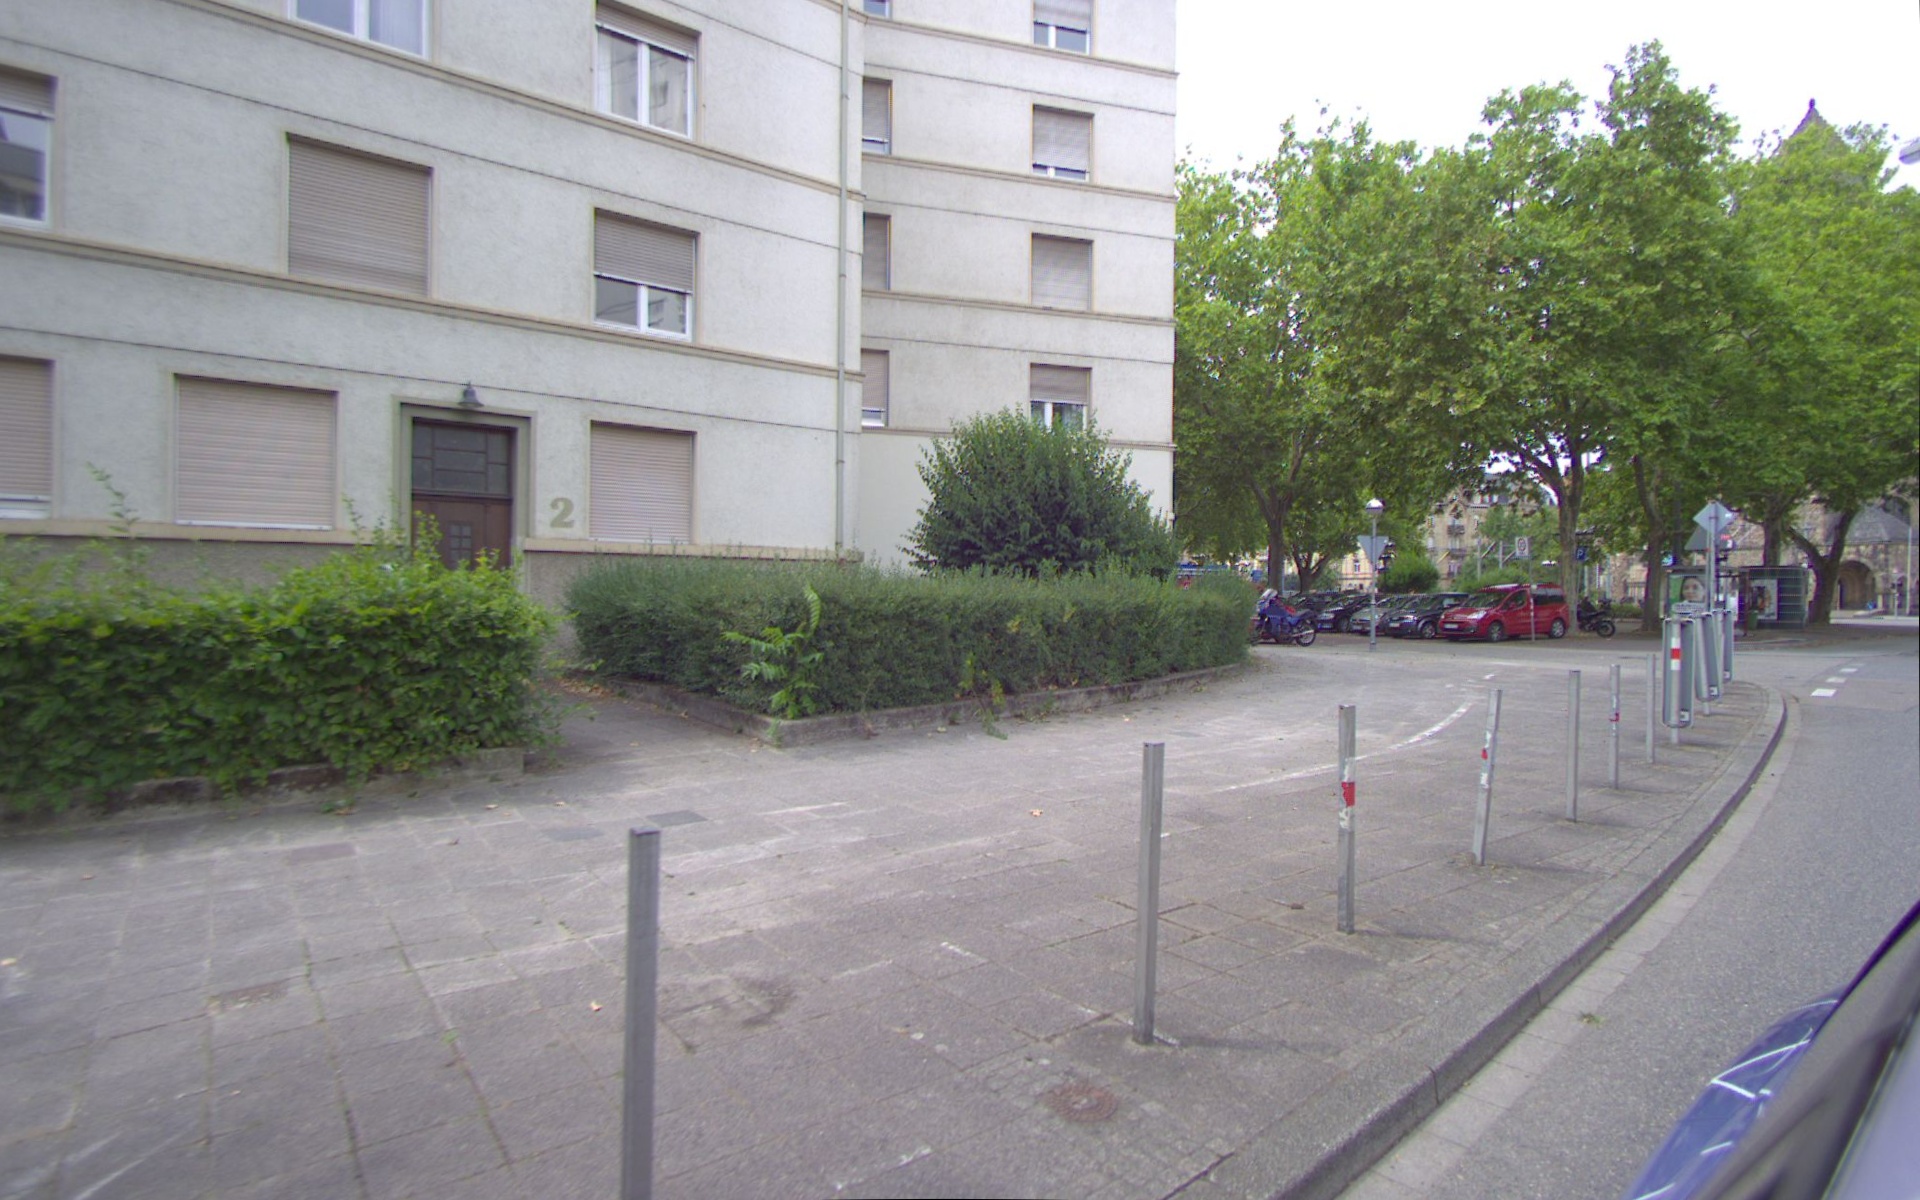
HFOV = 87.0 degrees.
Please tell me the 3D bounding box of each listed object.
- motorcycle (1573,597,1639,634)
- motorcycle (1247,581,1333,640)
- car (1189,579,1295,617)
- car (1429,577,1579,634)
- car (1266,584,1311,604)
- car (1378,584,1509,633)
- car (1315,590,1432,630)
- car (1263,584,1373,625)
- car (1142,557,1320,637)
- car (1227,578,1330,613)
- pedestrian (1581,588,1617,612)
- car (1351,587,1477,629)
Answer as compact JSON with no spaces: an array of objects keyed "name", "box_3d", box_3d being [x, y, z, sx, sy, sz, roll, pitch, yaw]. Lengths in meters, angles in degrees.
[{"name":"motorcycle","box_3d":[22.327,0.518,35.021,0.522,1.238,1.856,2,0,-43]},{"name":"motorcycle","box_3d":[8.728,0.285,26.754,2.259,1.480,0.836,2,0,-30]},{"name":"car","box_3d":[13.178,-0.103,47.281,4.464,1.716,2.004,0,1,-21]},{"name":"car","box_3d":[17.411,0.161,32.384,4.240,1.727,1.943,0,0,-21]},{"name":"car","box_3d":[32.970,-0.567,101.690,1.958,1.901,4.391,1,0,-20]},{"name":"car","box_3d":[16.565,0.271,34.680,3.916,1.571,1.837,0,1,-21]},{"name":"car","box_3d":[16.195,0.376,39.671,3.916,1.482,2.004,0,1,-21]},{"name":"car","box_3d":[14.854,0.175,42.001,3.916,1.619,2.004,0,1,-21]},{"name":"car","box_3d":[8.000,-0.064,29.938,4.742,2.177,2.004,1,0,-18]},{"name":"car","box_3d":[14.063,-0.208,44.689,3.916,1.482,2.004,0,1,-21]},{"name":"pedestrian","box_3d":[33.324,0.011,52.790,1.116,1.228,1.101,0,1,-16]},{"name":"car","box_3d":[16.743,0.291,37.381,4.096,1.482,1.755,0,1,-17]}]
